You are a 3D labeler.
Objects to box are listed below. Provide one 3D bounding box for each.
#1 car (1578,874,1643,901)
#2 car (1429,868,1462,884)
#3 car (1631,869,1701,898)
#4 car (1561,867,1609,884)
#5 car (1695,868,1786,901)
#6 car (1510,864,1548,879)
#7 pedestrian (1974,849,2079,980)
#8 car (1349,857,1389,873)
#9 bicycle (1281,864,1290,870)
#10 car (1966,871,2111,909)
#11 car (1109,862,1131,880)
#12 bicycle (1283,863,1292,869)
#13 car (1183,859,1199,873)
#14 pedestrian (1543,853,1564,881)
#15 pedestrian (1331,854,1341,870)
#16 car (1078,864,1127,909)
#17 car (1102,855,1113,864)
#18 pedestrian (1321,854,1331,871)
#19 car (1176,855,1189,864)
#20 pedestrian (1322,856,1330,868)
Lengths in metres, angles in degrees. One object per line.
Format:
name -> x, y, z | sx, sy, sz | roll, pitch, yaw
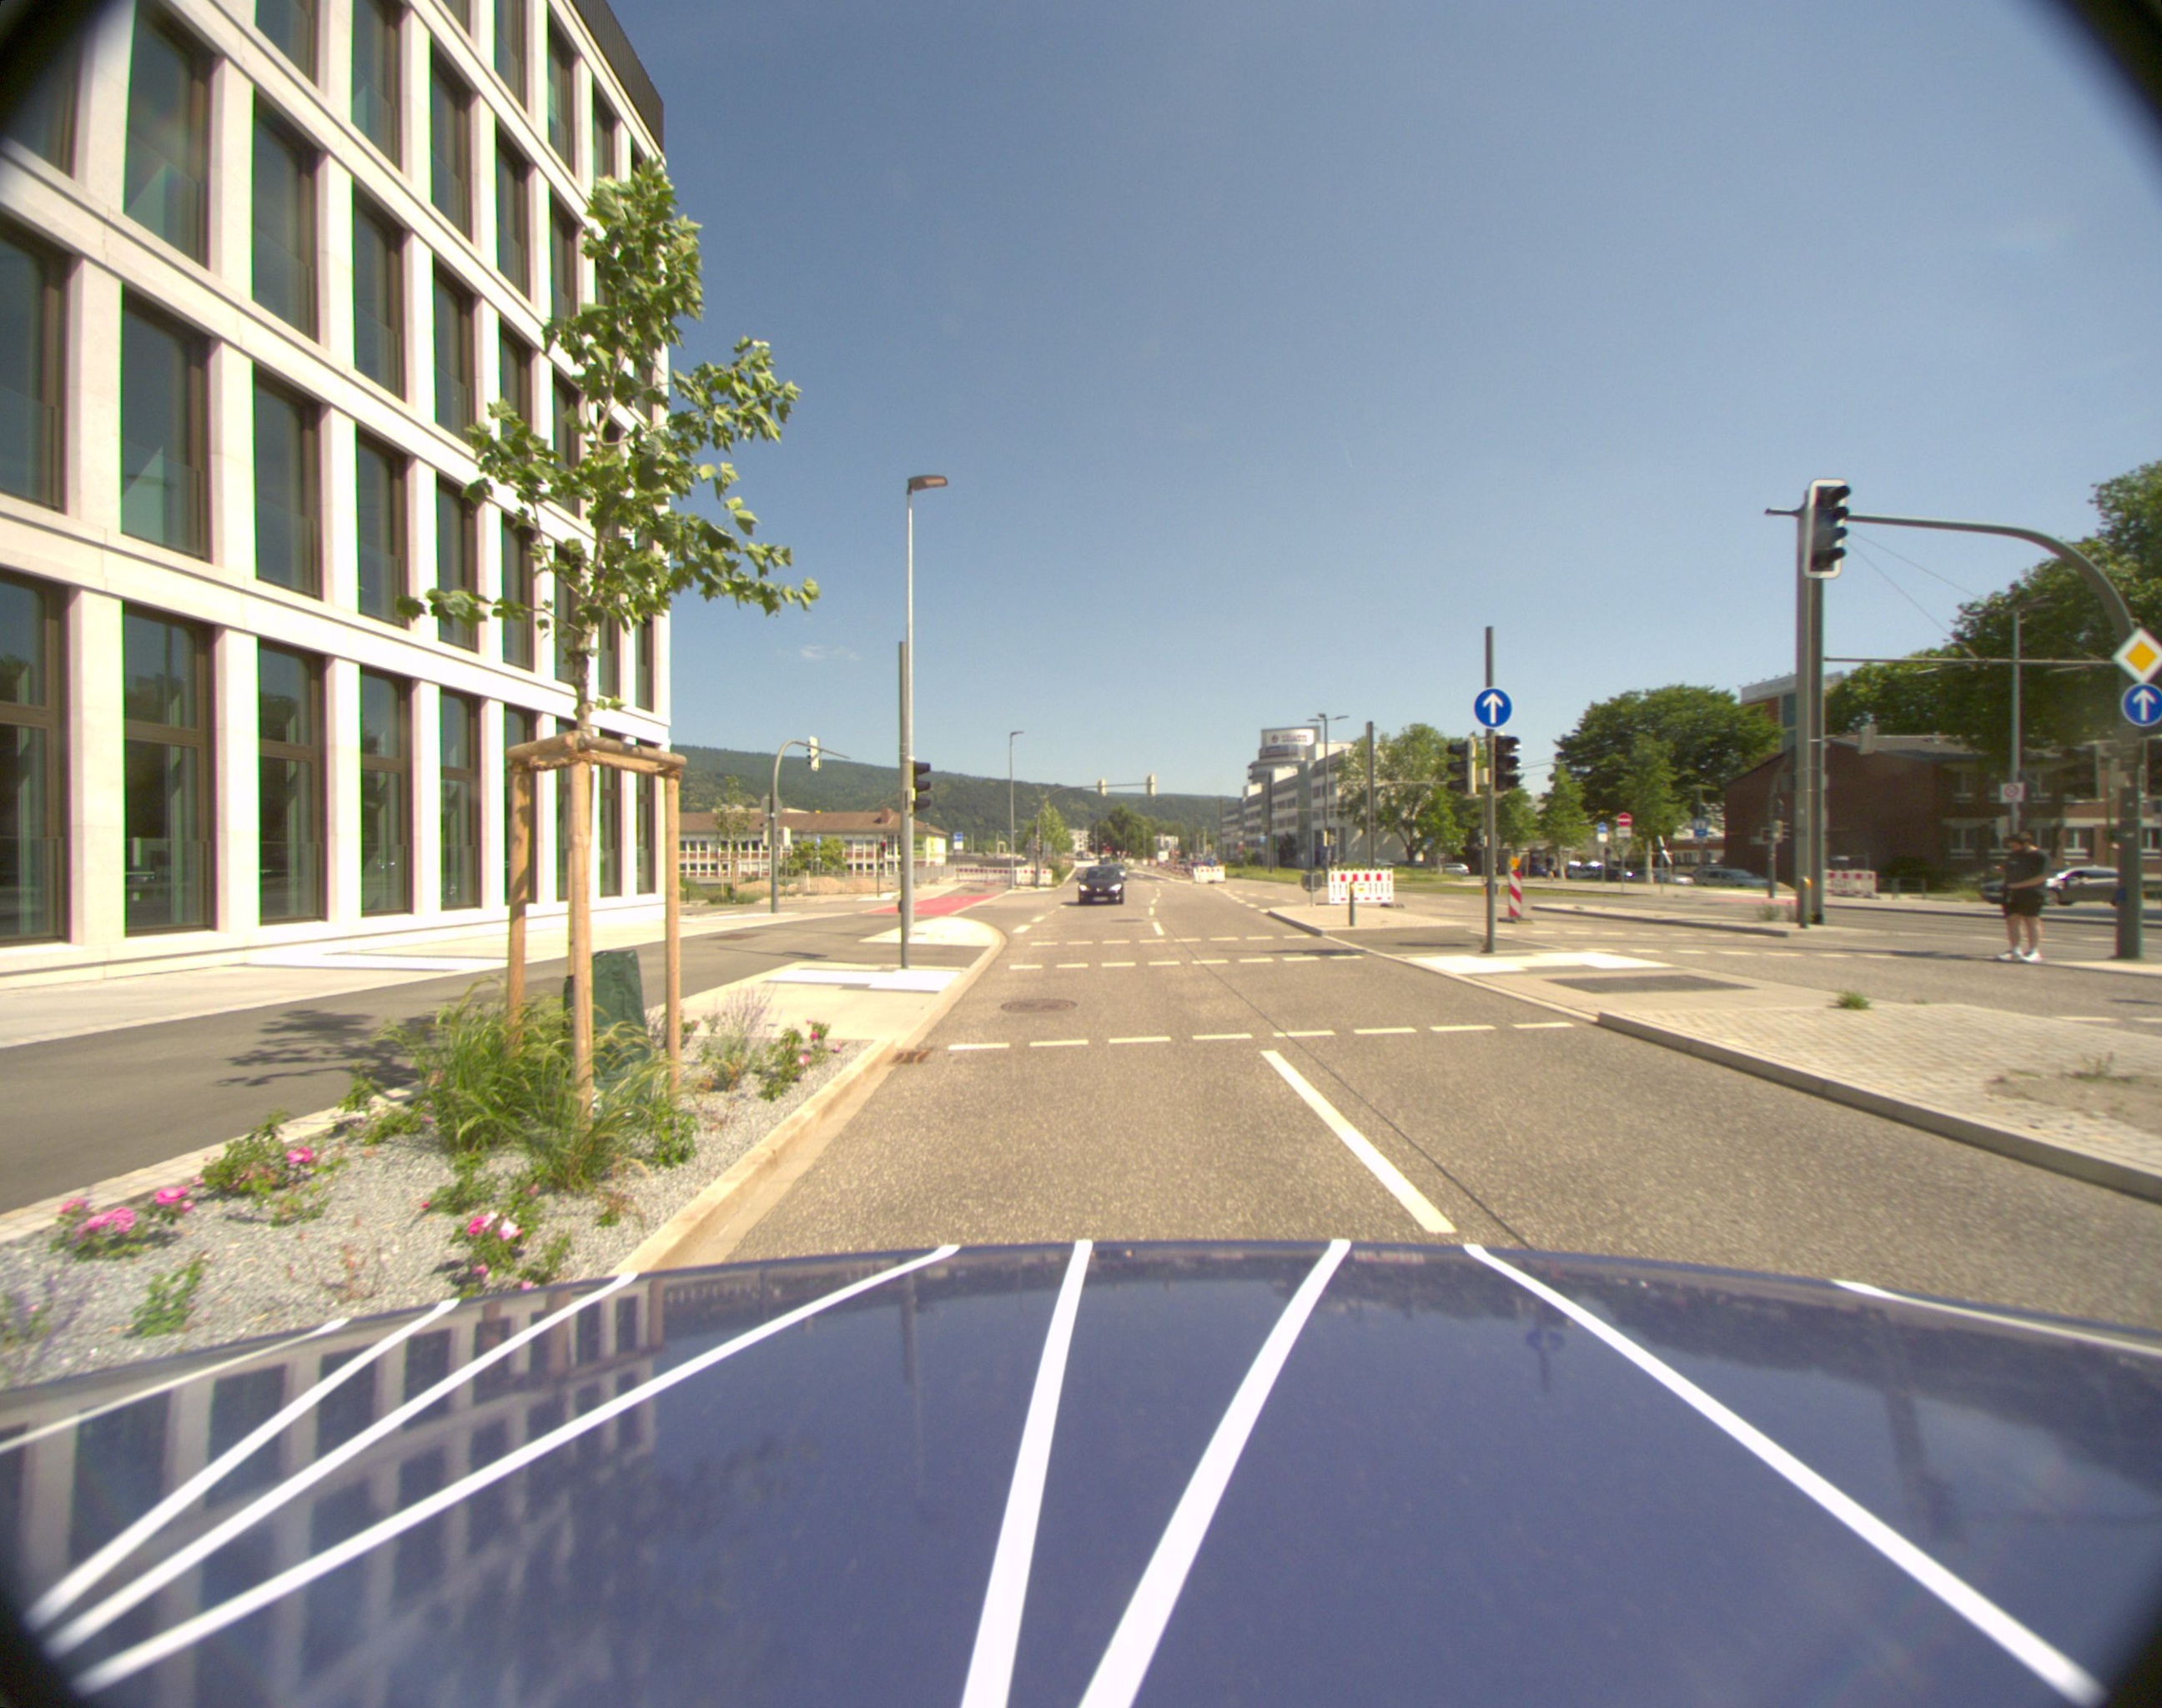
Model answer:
car -> 39.340, 2.436, 56.594 | 1.702, 1.751, 4.530 | 0, 1, 1
car -> 40.772, 2.440, 85.099 | 1.773, 1.581, 3.636 | -1, 0, -4
car -> 39.309, 1.973, 51.165 | 1.702, 1.751, 3.939 | 0, 1, 1
car -> 45.564, 1.894, 68.768 | 1.542, 1.448, 4.268 | 0, 0, 1
car -> 39.201, 1.779, 45.327 | 1.702, 1.751, 4.301 | 0, 1, 1
car -> 48.538, 1.890, 82.465 | 1.773, 1.581, 3.636 | -1, 0, -4
pedestrian -> 13.505, 0.847, 10.872 | 0.654, 1.822, 0.661 | -1, 0, 5
car -> 40.211, 1.491, 106.112 | 5.062, 2.167, 2.118 | 0, 0, 28
bicycle -> 40.567, 2.549, 150.796 | 1.650, 1.182, 0.522 | -1, 0, 6
car -> 36.063, 1.341, 28.667 | 3.487, 1.361, 1.573 | 0, 0, 0
car -> 3.181, 1.349, 62.155 | 1.618, 1.432, 3.768 | 1, 0, 0
bicycle -> 40.637, 2.413, 149.390 | 1.650, 1.182, 0.438 | -1, 0, 6
car -> 12.546, 1.376, 86.786 | 1.631, 1.419, 4.291 | 0, 1, 5
pedestrian -> 31.166, 0.866, 50.134 | 0.813, 1.836, 1.108 | 0, 0, 7
pedestrian -> 31.202, 0.973, 93.027 | 0.841, 2.002, 0.984 | -1, 0, 3
car -> 0.739, 1.133, 27.496 | 1.618, 1.433, 3.706 | 1, 1, 1
car -> 4.308, 0.904, 123.863 | 1.618, 1.433, 3.768 | -1, 0, 2
pedestrian -> 30.015, 1.032, 93.071 | 0.985, 2.002, 0.910 | -1, 0, 3
car -> 16.937, 0.961, 127.365 | 1.677, 1.435, 4.469 | 2, 0, 2
pedestrian -> 31.765, 1.023, 98.382 | 0.816, 1.567, 0.827 | 0, 0, 6
